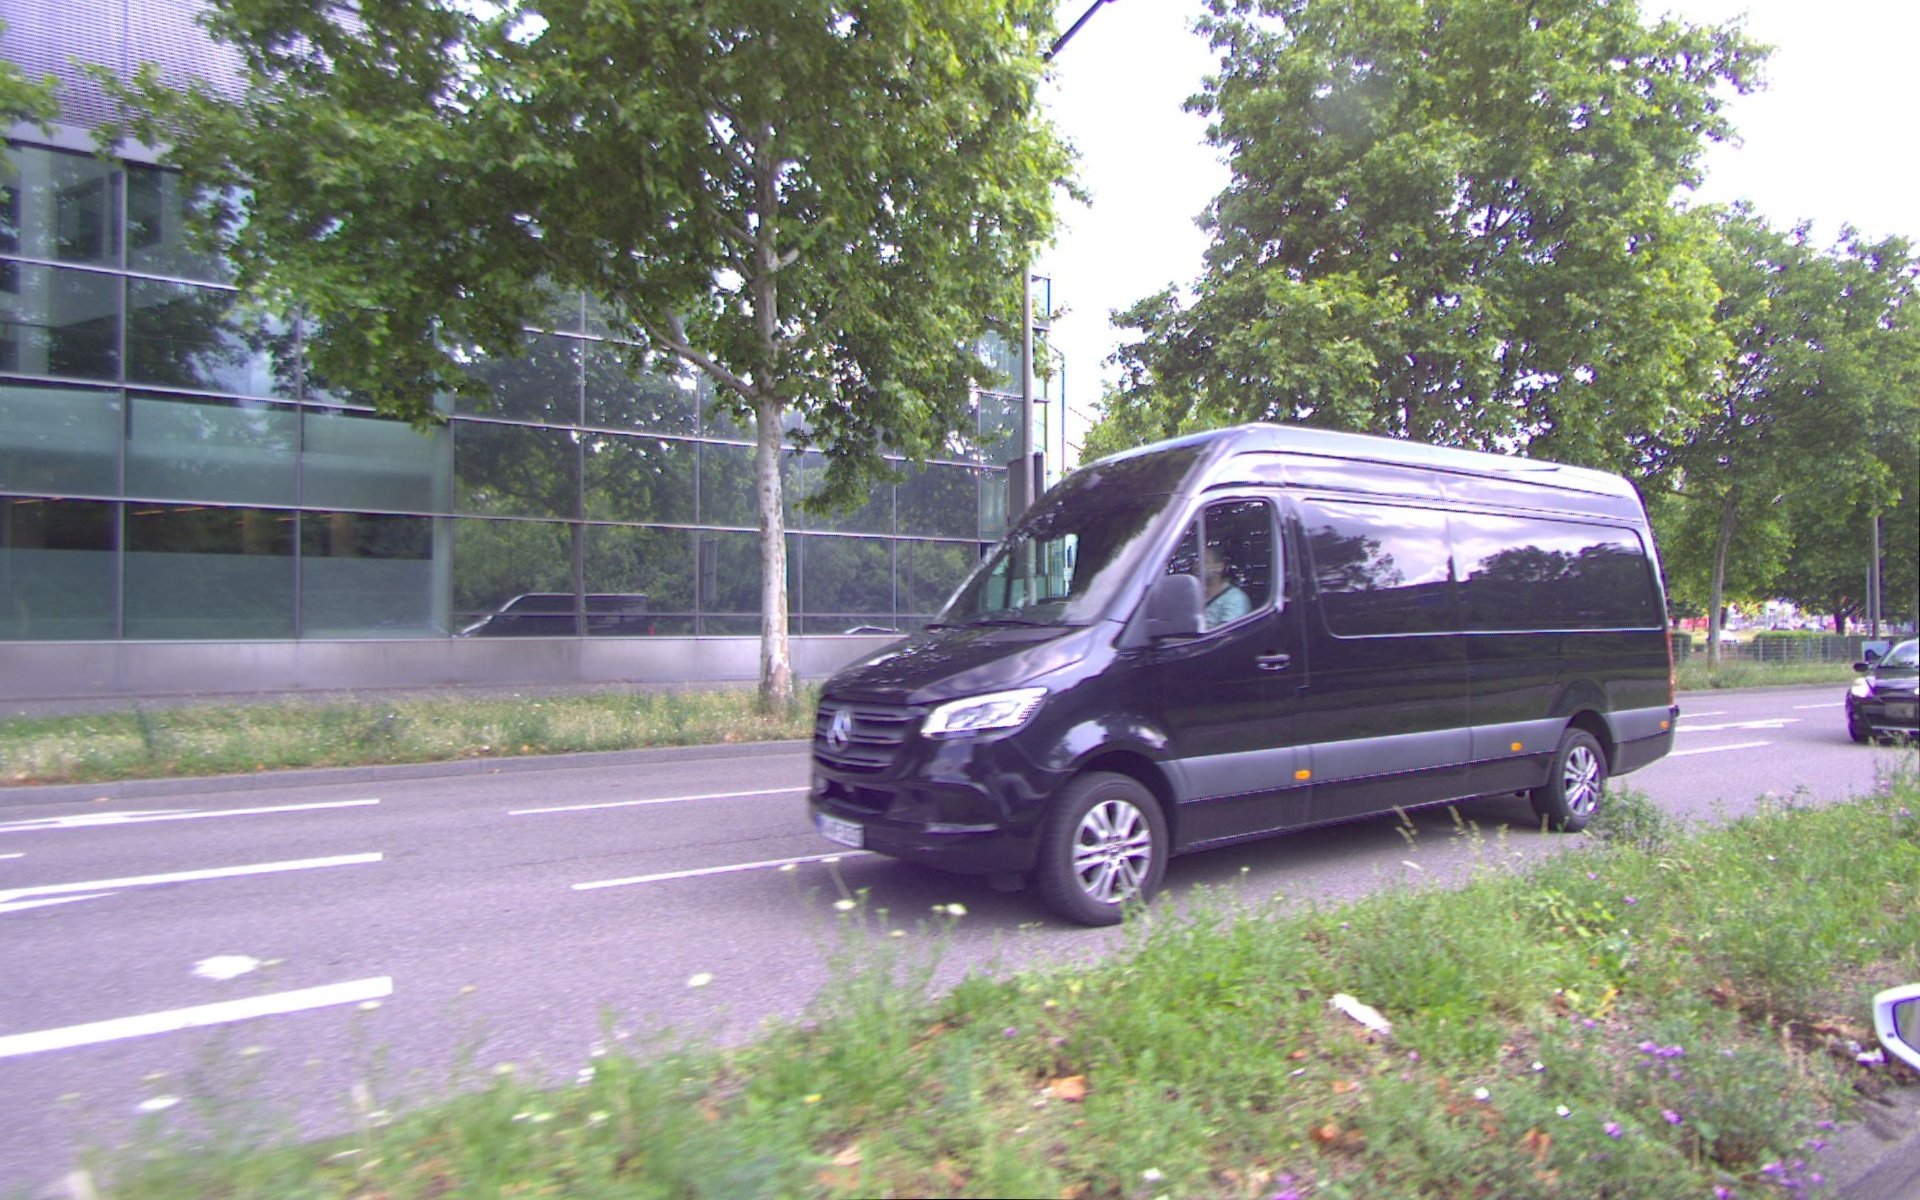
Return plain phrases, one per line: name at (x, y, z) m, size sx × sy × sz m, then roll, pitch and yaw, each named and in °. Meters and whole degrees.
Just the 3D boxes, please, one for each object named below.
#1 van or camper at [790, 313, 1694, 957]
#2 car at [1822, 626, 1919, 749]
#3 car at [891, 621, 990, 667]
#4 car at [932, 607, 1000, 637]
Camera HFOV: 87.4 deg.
van or camper at (2.335, 0.260, 6.897) m, size 6.645 × 2.694 × 2.093 m, roll 2°, pitch -3°, yaw -33°
car at (13.135, 1.119, 13.184) m, size 3.898 × 1.483 × 1.685 m, roll 2°, pitch -3°, yaw -32°
car at (-0.886, 2.000, 45.750) m, size 3.925 × 1.817 × 1.999 m, roll 3°, pitch -3°, yaw 26°
car at (0.423, 1.446, 66.064) m, size 3.923 × 1.728 × 2.000 m, roll 3°, pitch -3°, yaw 23°
